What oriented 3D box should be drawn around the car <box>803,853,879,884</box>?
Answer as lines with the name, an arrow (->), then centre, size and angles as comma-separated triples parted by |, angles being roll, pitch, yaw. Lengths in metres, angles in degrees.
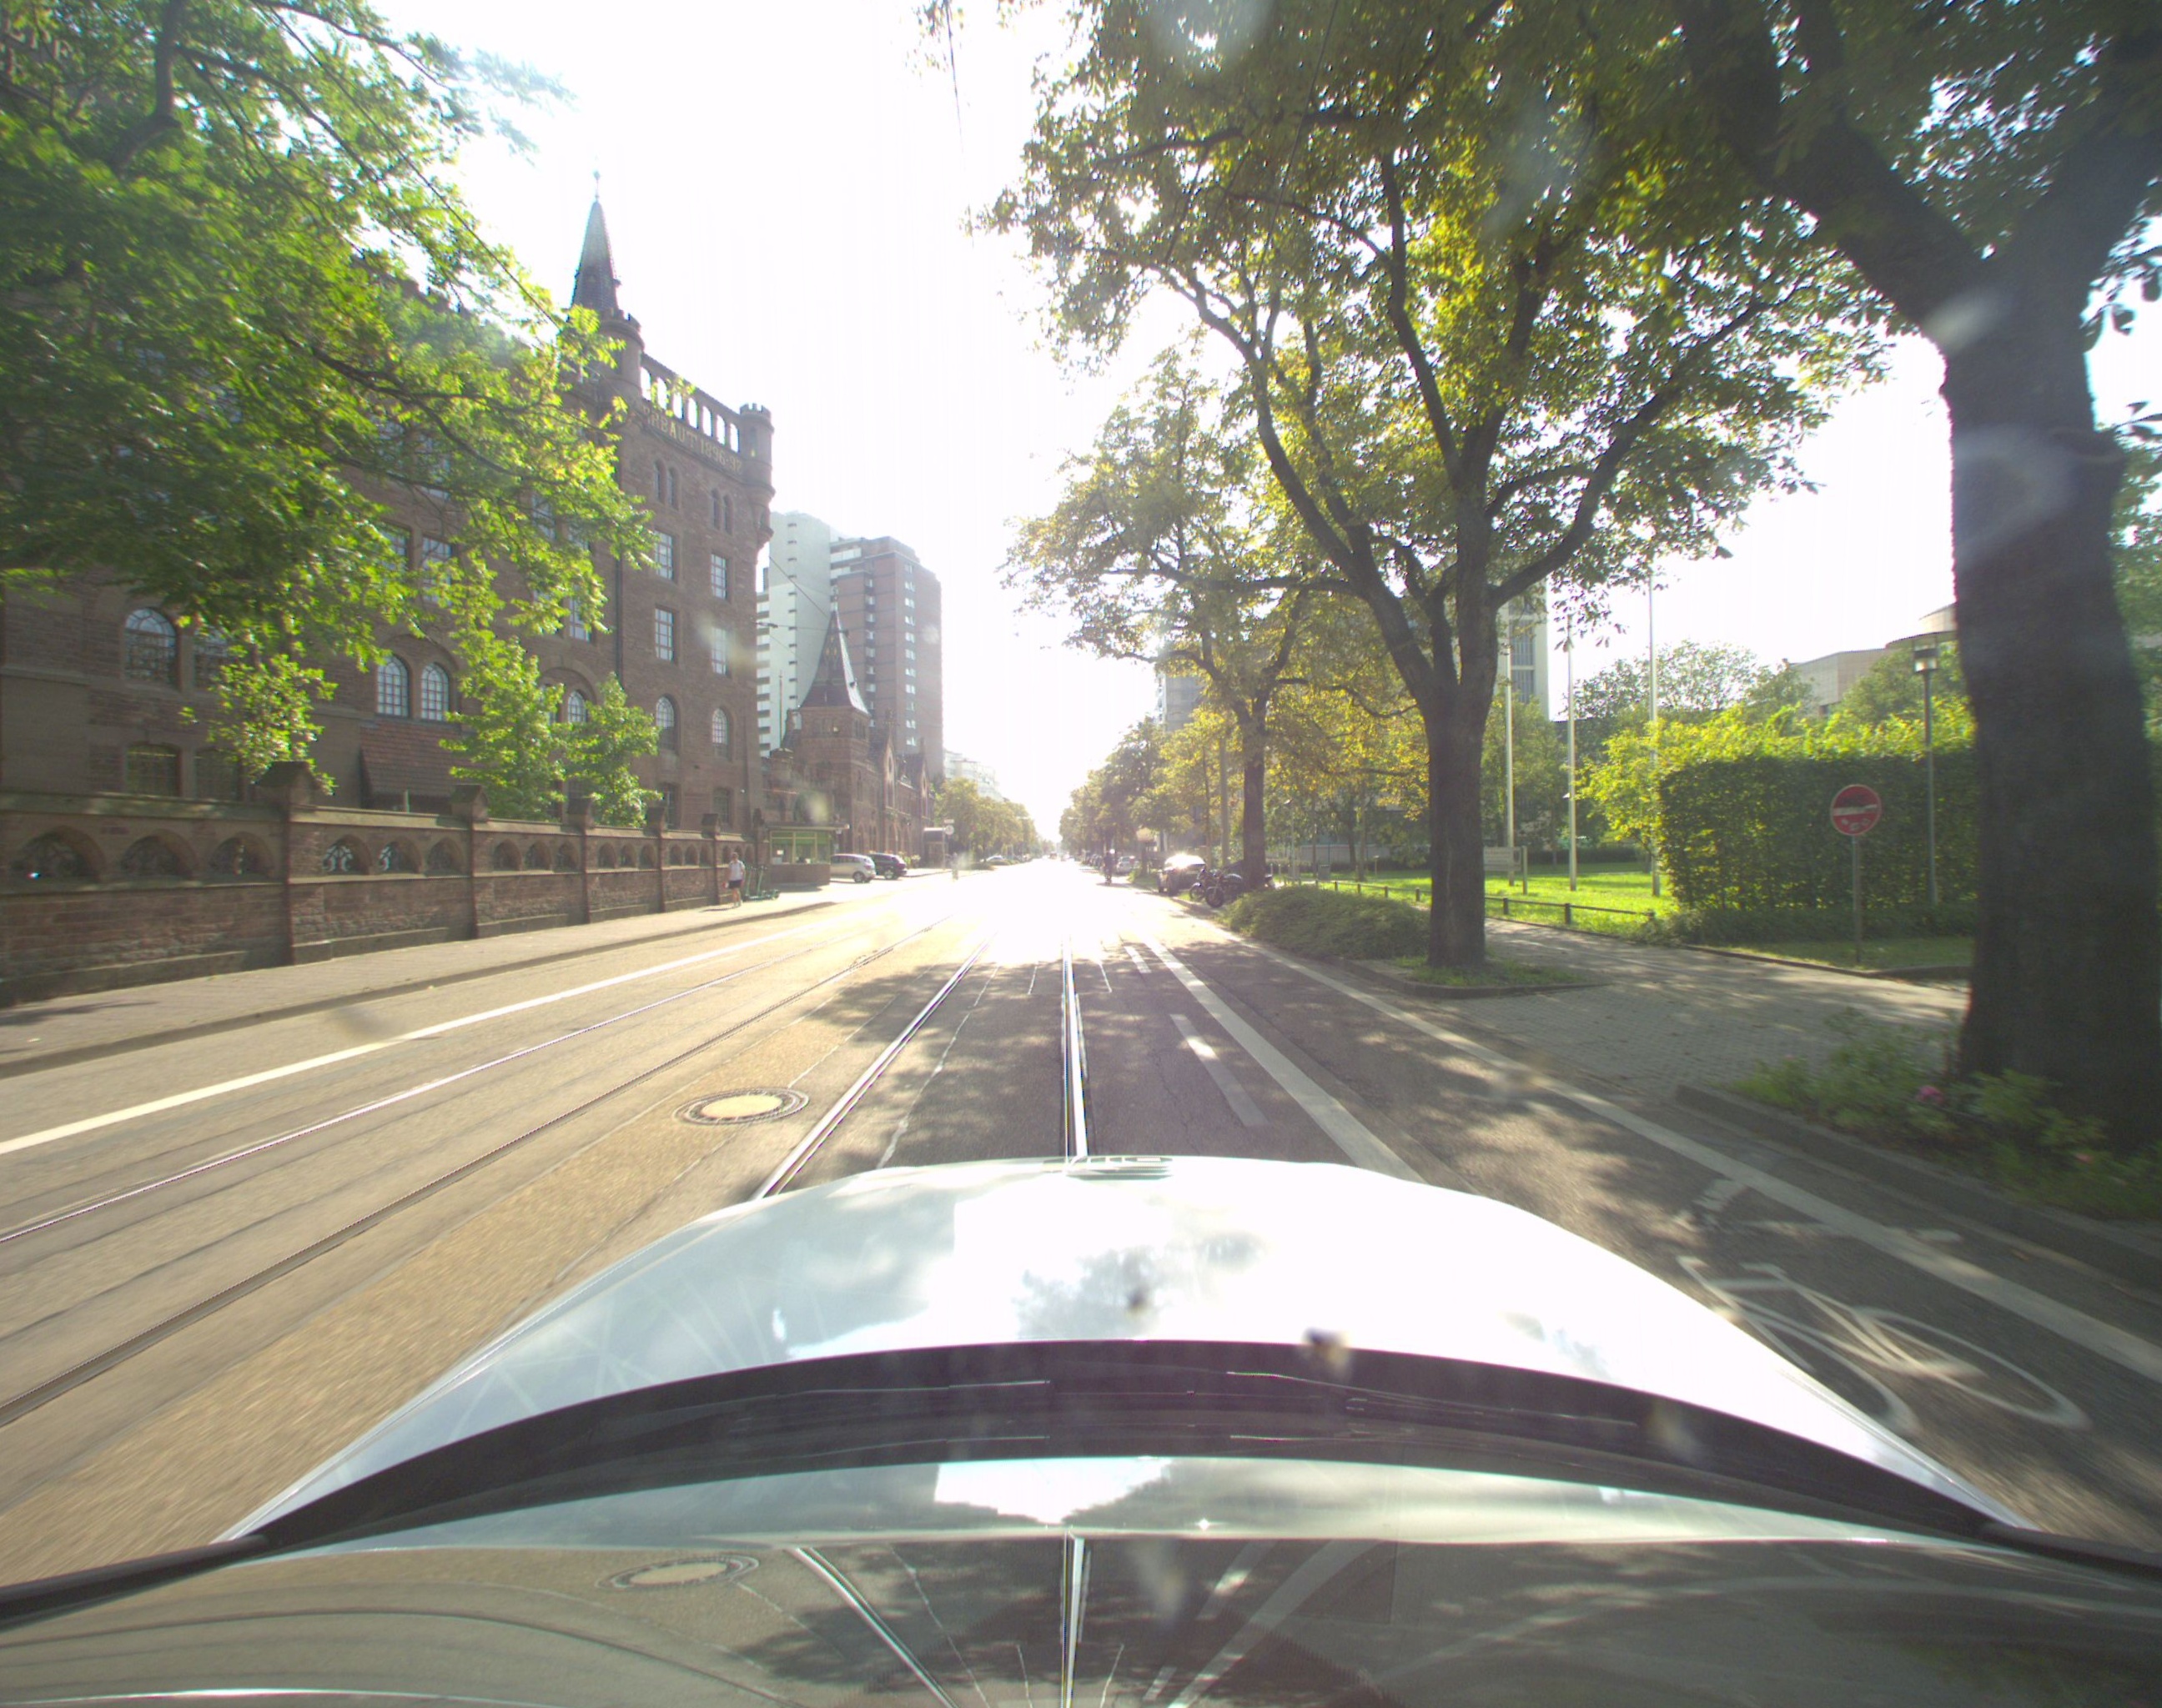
car -> -14.173, 0.841, 48.234 | 3.886, 1.596, 1.823 | 3, 0, 1

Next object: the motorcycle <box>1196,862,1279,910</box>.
motorcycle -> 4.349, 0.890, 22.686 | 2.040, 1.243, 0.850 | -3, -1, 37

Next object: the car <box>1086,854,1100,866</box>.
car -> 1.722, 0.828, 117.558 | 1.749, 1.691, 4.391 | 0, 0, -3

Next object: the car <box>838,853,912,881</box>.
car -> -13.644, 0.842, 54.081 | 4.389, 1.645, 1.954 | 3, 0, -5

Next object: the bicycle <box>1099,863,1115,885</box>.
bicycle -> 1.338, 1.027, 42.555 | 0.784, 1.144, 2.305 | -1, 0, 1

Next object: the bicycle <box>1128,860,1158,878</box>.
bicycle -> 3.935, 0.954, 51.915 | 1.765, 1.064, 0.795 | -3, 0, -4

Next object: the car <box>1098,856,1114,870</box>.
car -> 2.837, 1.019, 94.527 | 1.641, 1.511, 3.776 | -3, 0, -1

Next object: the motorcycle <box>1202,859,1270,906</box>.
motorcycle -> 4.640, 0.860, 24.547 | 0.847, 1.327, 2.047 | -2, -1, -30

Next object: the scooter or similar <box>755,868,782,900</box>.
scooter or similar -> -11.108, 1.072, 28.927 | 0.821, 1.148, 0.281 | 3, -3, -38

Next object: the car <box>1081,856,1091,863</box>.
car -> 1.003, 1.165, 167.714 | 1.748, 1.377, 4.716 | -3, 0, -1

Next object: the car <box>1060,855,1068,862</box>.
car -> -4.126, 1.128, 198.442 | 1.987, 1.838, 3.999 | -1, 0, 0

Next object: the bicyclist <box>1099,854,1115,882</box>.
bicyclist -> 1.338, 0.724, 42.522 | 0.784, 1.470, 1.116 | -1, -1, 0

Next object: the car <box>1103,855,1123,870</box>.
car -> 3.231, 0.824, 82.721 | 1.642, 1.428, 4.081 | -2, 0, -2

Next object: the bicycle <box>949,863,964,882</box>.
bicycle -> -8.010, 1.176, 52.602 | 0.696, 1.158, 2.035 | -4, 0, -4

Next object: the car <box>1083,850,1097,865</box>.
car -> 1.654, 0.622, 148.595 | 2.078, 2.552, 5.496 | -4, 0, -3

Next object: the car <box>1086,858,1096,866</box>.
car -> 1.652, 1.352, 138.402 | 1.611, 1.374, 4.825 | -2, 0, -1

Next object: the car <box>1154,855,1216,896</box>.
car -> 4.213, 0.834, 33.656 | 1.737, 1.486, 4.433 | -2, 0, -3

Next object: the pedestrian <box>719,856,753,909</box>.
pedestrian -> -10.557, 0.871, 24.918 | 0.713, 1.589, 0.774 | -1, -1, -2

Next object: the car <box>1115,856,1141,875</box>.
car -> 3.680, 0.886, 64.206 | 1.636, 1.430, 3.984 | -2, -1, -3

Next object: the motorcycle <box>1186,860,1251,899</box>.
motorcycle -> 4.478, 0.831, 26.607 | 1.965, 1.225, 0.649 | -1, -1, 23

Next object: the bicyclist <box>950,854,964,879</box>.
bicyclist -> -8.029, 0.815, 52.570 | 0.696, 1.580, 1.086 | -4, 0, -4

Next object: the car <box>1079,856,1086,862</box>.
car -> 0.346, 1.319, 201.118 | 1.684, 1.418, 3.633 | -1, 0, -1

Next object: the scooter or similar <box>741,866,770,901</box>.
scooter or similar -> -11.069, 1.002, 27.695 | 0.821, 1.148, 0.281 | 3, -3, -38
